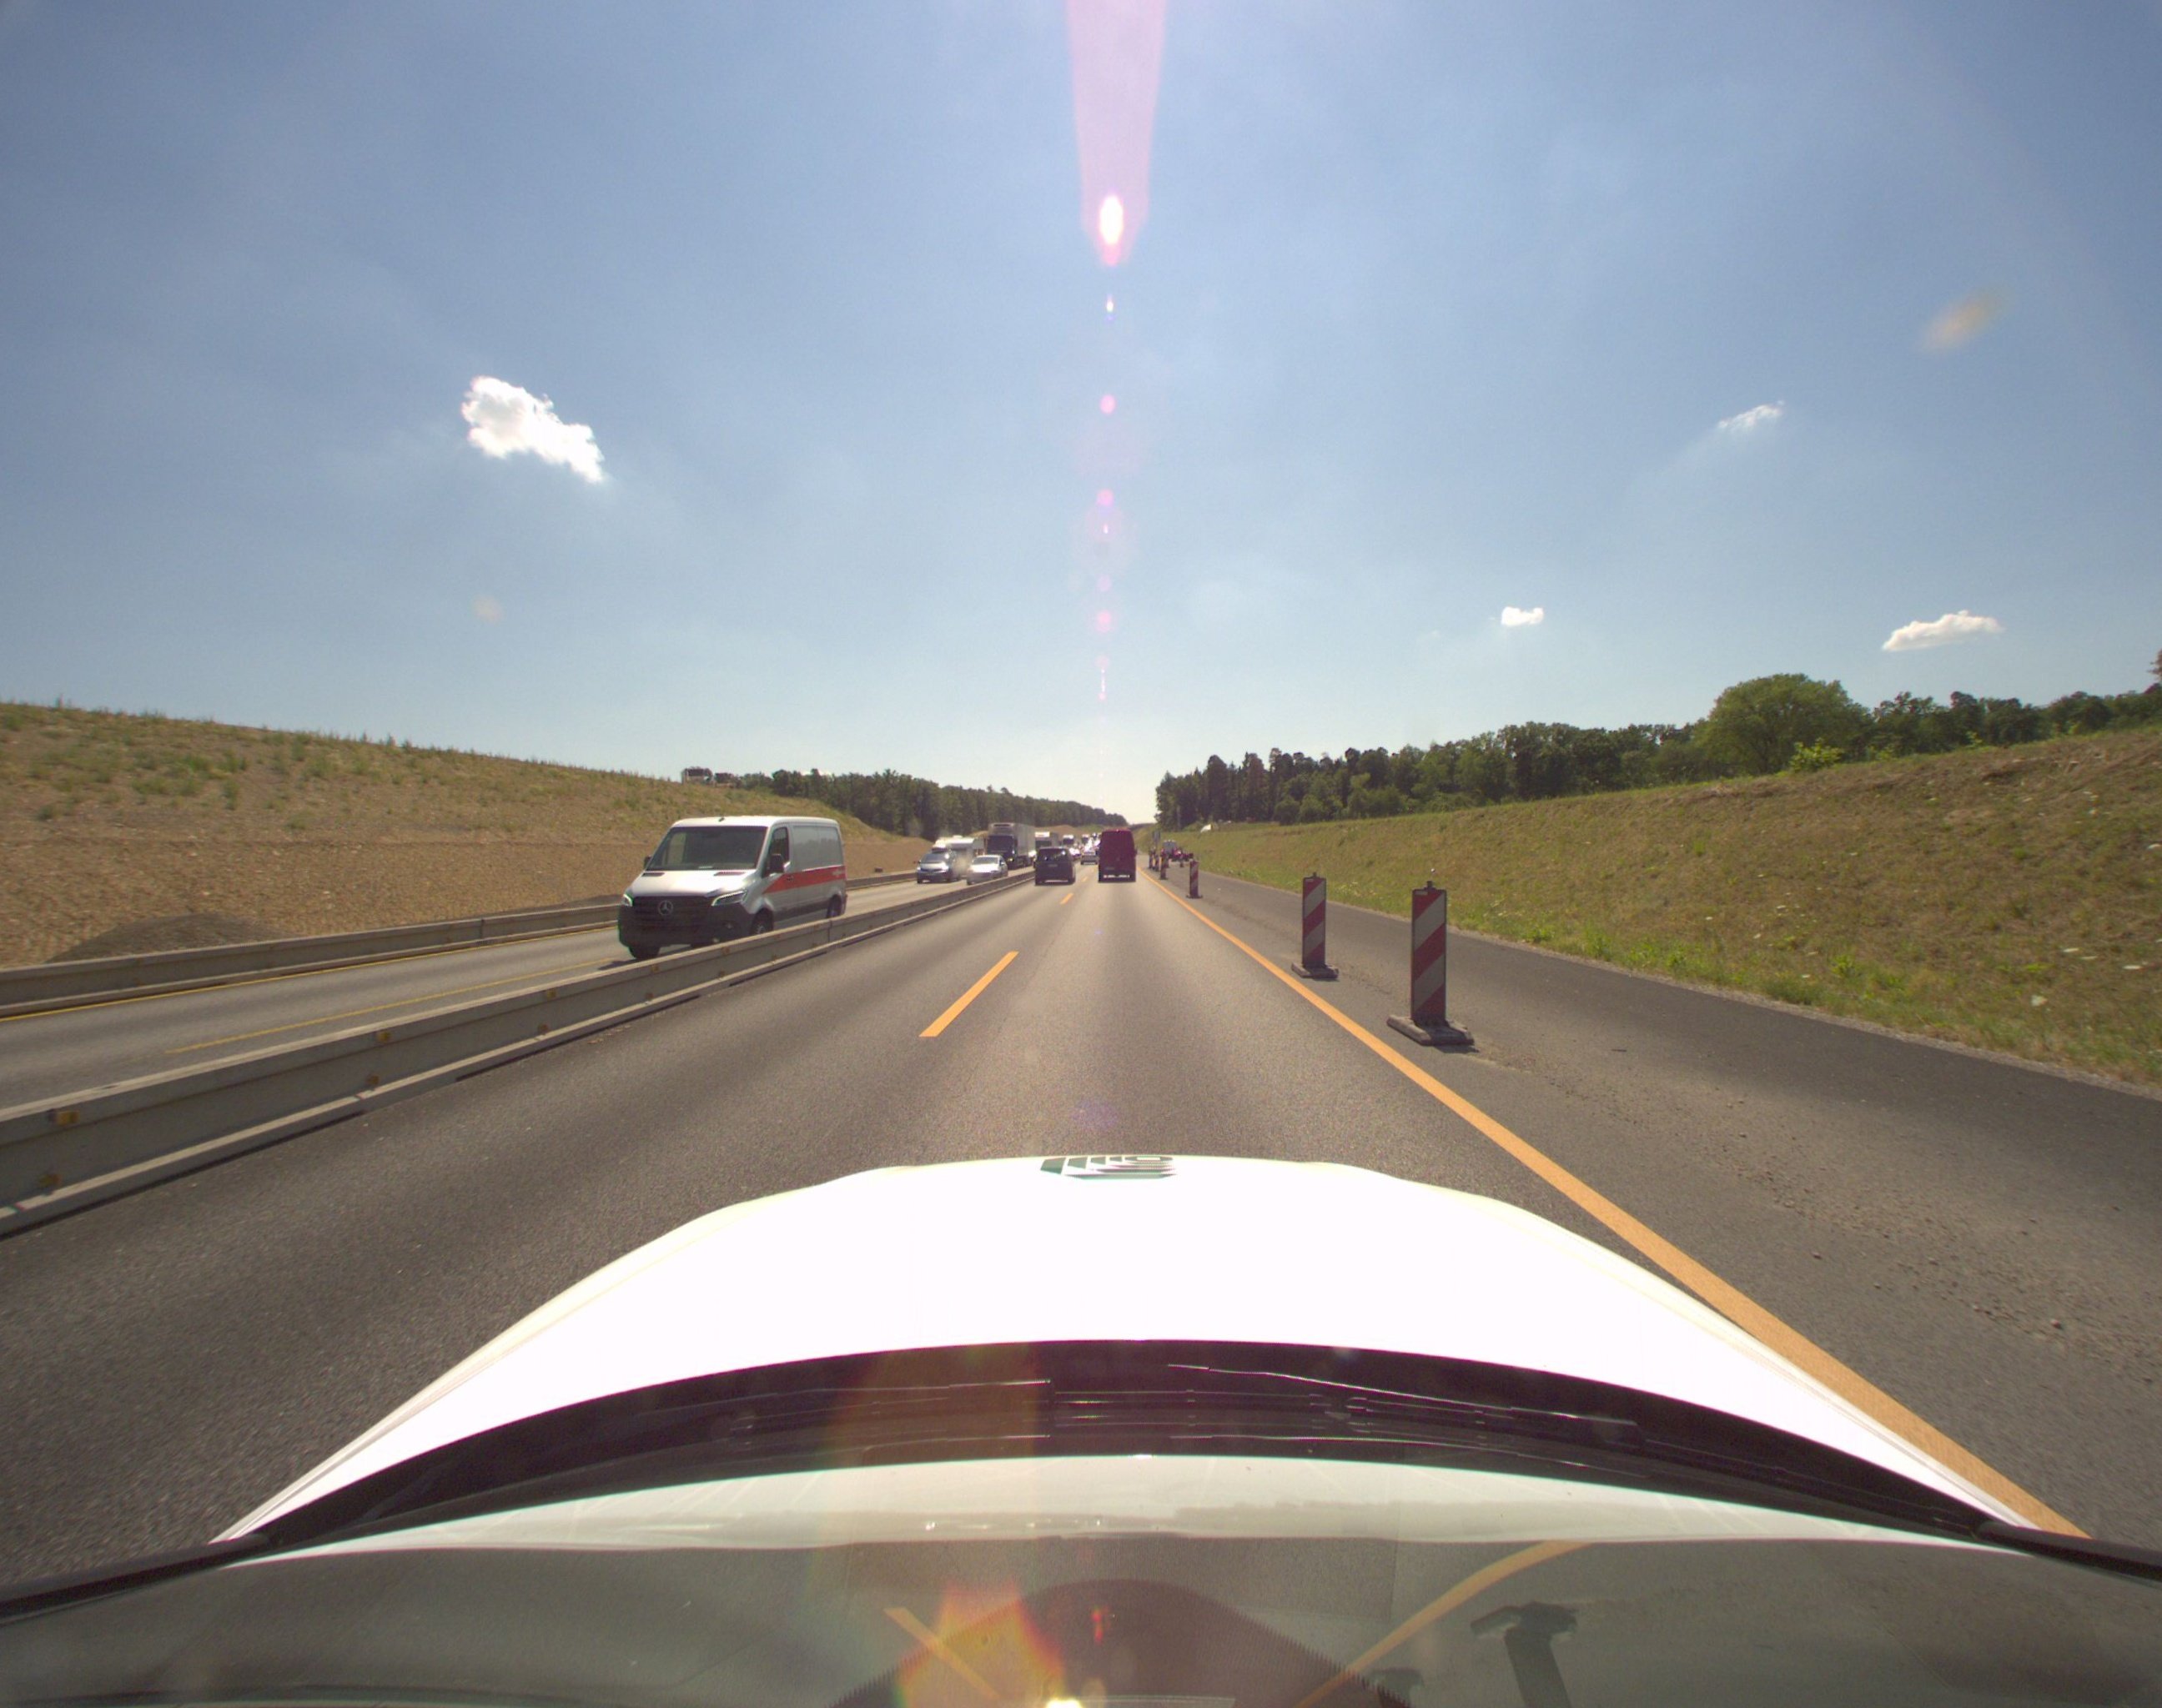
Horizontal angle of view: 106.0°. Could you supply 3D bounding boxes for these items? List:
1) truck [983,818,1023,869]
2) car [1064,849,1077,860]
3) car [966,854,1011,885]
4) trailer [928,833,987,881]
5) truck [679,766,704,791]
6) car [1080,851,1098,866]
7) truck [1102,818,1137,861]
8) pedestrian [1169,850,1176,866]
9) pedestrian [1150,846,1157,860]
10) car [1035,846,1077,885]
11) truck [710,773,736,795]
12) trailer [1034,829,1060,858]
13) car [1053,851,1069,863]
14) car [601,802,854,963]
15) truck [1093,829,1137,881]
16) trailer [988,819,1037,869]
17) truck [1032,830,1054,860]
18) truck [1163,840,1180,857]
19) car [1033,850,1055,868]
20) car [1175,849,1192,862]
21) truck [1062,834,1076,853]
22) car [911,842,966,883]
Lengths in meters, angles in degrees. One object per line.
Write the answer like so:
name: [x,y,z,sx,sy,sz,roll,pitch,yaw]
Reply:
truck: [-6.695,-0.892,70.719,2.481,4.198,5.916,-2,0,3]
car: [-1.552,0.032,122.834,1.769,1.555,4.140,-3,0,1]
car: [-4.684,0.776,41.659,1.682,1.502,3.978,0,0,2]
trailer: [-7.550,0.169,50.605,2.302,2.686,6.759,-2,0,2]
truck: [-58.205,-11.245,121.661,2.371,2.898,8.280,0,-1,-33]
car: [0.878,0.497,86.403,1.824,1.522,3.963,0,0,2]
truck: [5.262,-1.796,112.669,4.383,5.496,16.612,0,0,2]
pedestrian: [10.911,0.488,96.726,0.642,1.828,0.555,0,1,-19]
pedestrian: [9.934,-0.141,111.832,0.725,1.828,0.715,0,-1,-18]
car: [-1.187,0.541,40.861,1.744,1.824,4.785,0,0,2]
truck: [-56.987,-11.066,129.481,2.311,2.749,8.814,0,-1,-33]
trailer: [-4.969,-1.520,120.119,2.643,3.938,14.004,0,0,2]
car: [-2.519,0.430,103.218,1.801,1.488,4.244,0,0,1]
car: [-5.806,0.431,14.319,1.986,2.292,5.345,0,0,2]
truck: [1.747,0.055,43.800,2.146,2.590,5.332,0,0,0]
trailer: [-6.336,-0.915,78.236,2.492,4.179,15.545,-2,0,3]
truck: [-5.221,-1.202,113.004,2.582,4.053,5.151,0,0,1]
truck: [12.821,-0.810,115.325,2.117,2.457,5.941,0,1,9]
car: [-3.427,0.470,75.662,1.682,1.613,4.595,0,0,2]
car: [12.209,0.150,97.111,1.647,1.426,4.548,-3,1,3]
truck: [-2.546,-2.209,174.258,2.757,4.044,4.947,0,-1,3]
car: [-7.758,0.467,44.797,1.986,2.155,4.867,0,0,2]
